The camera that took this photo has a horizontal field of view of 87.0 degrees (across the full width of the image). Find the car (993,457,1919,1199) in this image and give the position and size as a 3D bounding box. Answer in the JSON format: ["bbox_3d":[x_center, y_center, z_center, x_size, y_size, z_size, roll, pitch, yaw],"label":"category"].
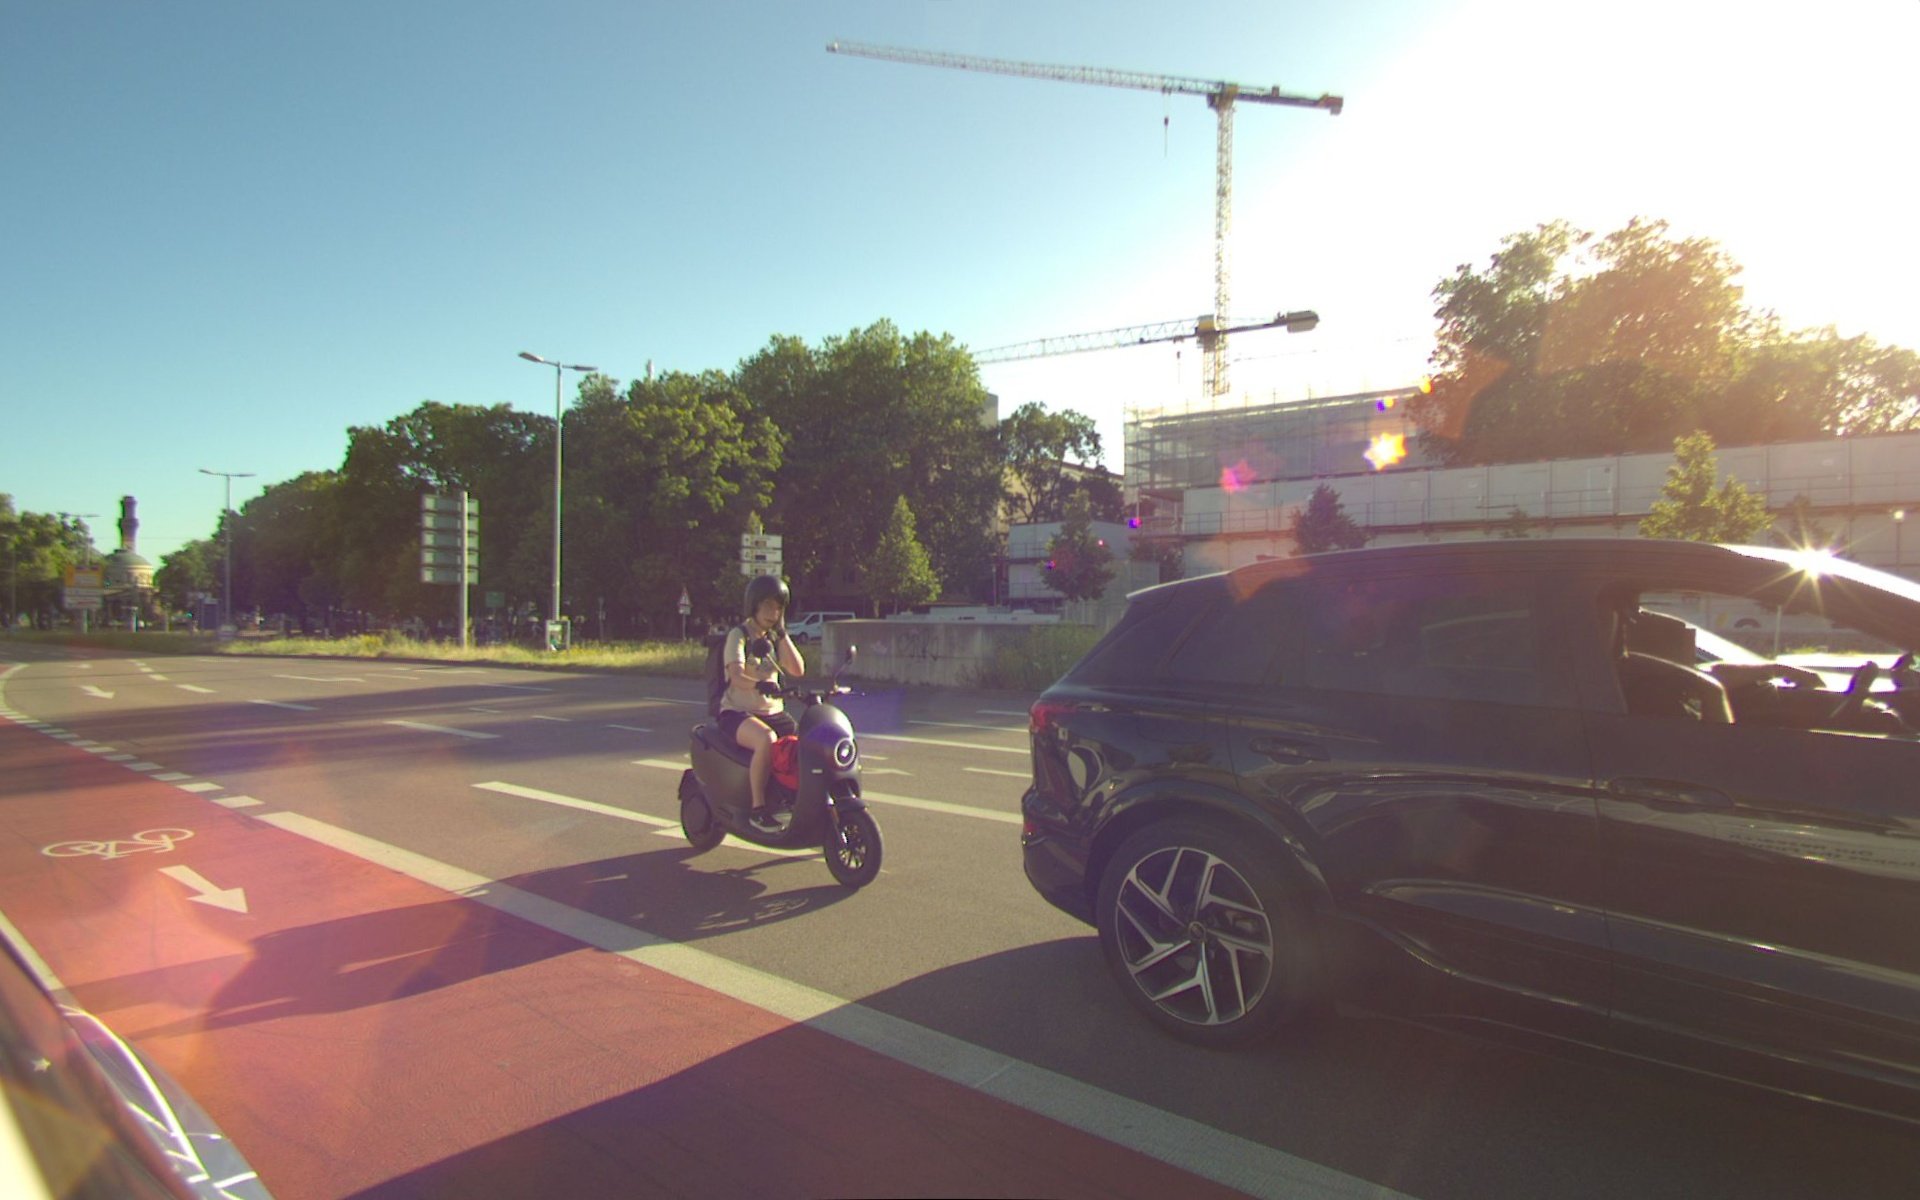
[{"bbox_3d":[2.596,0.550,3.143,4.660,1.720,2.144,-1,-1,40],"label":"car"}]

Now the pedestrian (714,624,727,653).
[{"bbox_3d":[-12.532,2.013,52.976,0.494,1.522,0.492,-1,-2,41],"label":"pedestrian"}]

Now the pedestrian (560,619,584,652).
[{"bbox_3d":[-24.026,2.175,62.730,0.815,1.978,1.111,-1,0,41],"label":"pedestrian"}]

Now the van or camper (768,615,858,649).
[{"bbox_3d":[-8.958,1.926,61.890,1.951,1.960,5.425,-2,-2,44],"label":"van or camper"}]

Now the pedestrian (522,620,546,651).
[{"bbox_3d":[-27.600,2.294,65.591,1.054,1.978,0.942,-1,0,26],"label":"pedestrian"}]

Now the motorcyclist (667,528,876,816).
[{"bbox_3d":[-1.075,0.383,5.792,0.877,1.475,0.813,-1,-2,41],"label":"motorcyclist"}]

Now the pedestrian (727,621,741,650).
[{"bbox_3d":[-12.009,1.872,53.773,0.494,1.522,0.492,-1,-2,41],"label":"pedestrian"}]

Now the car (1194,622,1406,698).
[{"bbox_3d":[7.326,1.235,21.990,3.979,1.492,1.857,-1,-2,41],"label":"car"}]

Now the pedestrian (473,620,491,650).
[{"bbox_3d":[-32.841,2.387,69.543,0.941,2.029,0.842,-1,0,-14],"label":"pedestrian"}]

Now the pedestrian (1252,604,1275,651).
[{"bbox_3d":[10.621,0.958,35.377,0.597,1.614,0.580,-1,0,38],"label":"pedestrian"}]

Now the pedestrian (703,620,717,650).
[{"bbox_3d":[-12.932,1.802,52.424,0.494,1.522,0.492,-1,-2,41],"label":"pedestrian"}]

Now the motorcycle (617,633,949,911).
[{"bbox_3d":[-1.052,0.843,5.730,1.943,1.290,0.817,-1,-2,41],"label":"motorcycle"}]
